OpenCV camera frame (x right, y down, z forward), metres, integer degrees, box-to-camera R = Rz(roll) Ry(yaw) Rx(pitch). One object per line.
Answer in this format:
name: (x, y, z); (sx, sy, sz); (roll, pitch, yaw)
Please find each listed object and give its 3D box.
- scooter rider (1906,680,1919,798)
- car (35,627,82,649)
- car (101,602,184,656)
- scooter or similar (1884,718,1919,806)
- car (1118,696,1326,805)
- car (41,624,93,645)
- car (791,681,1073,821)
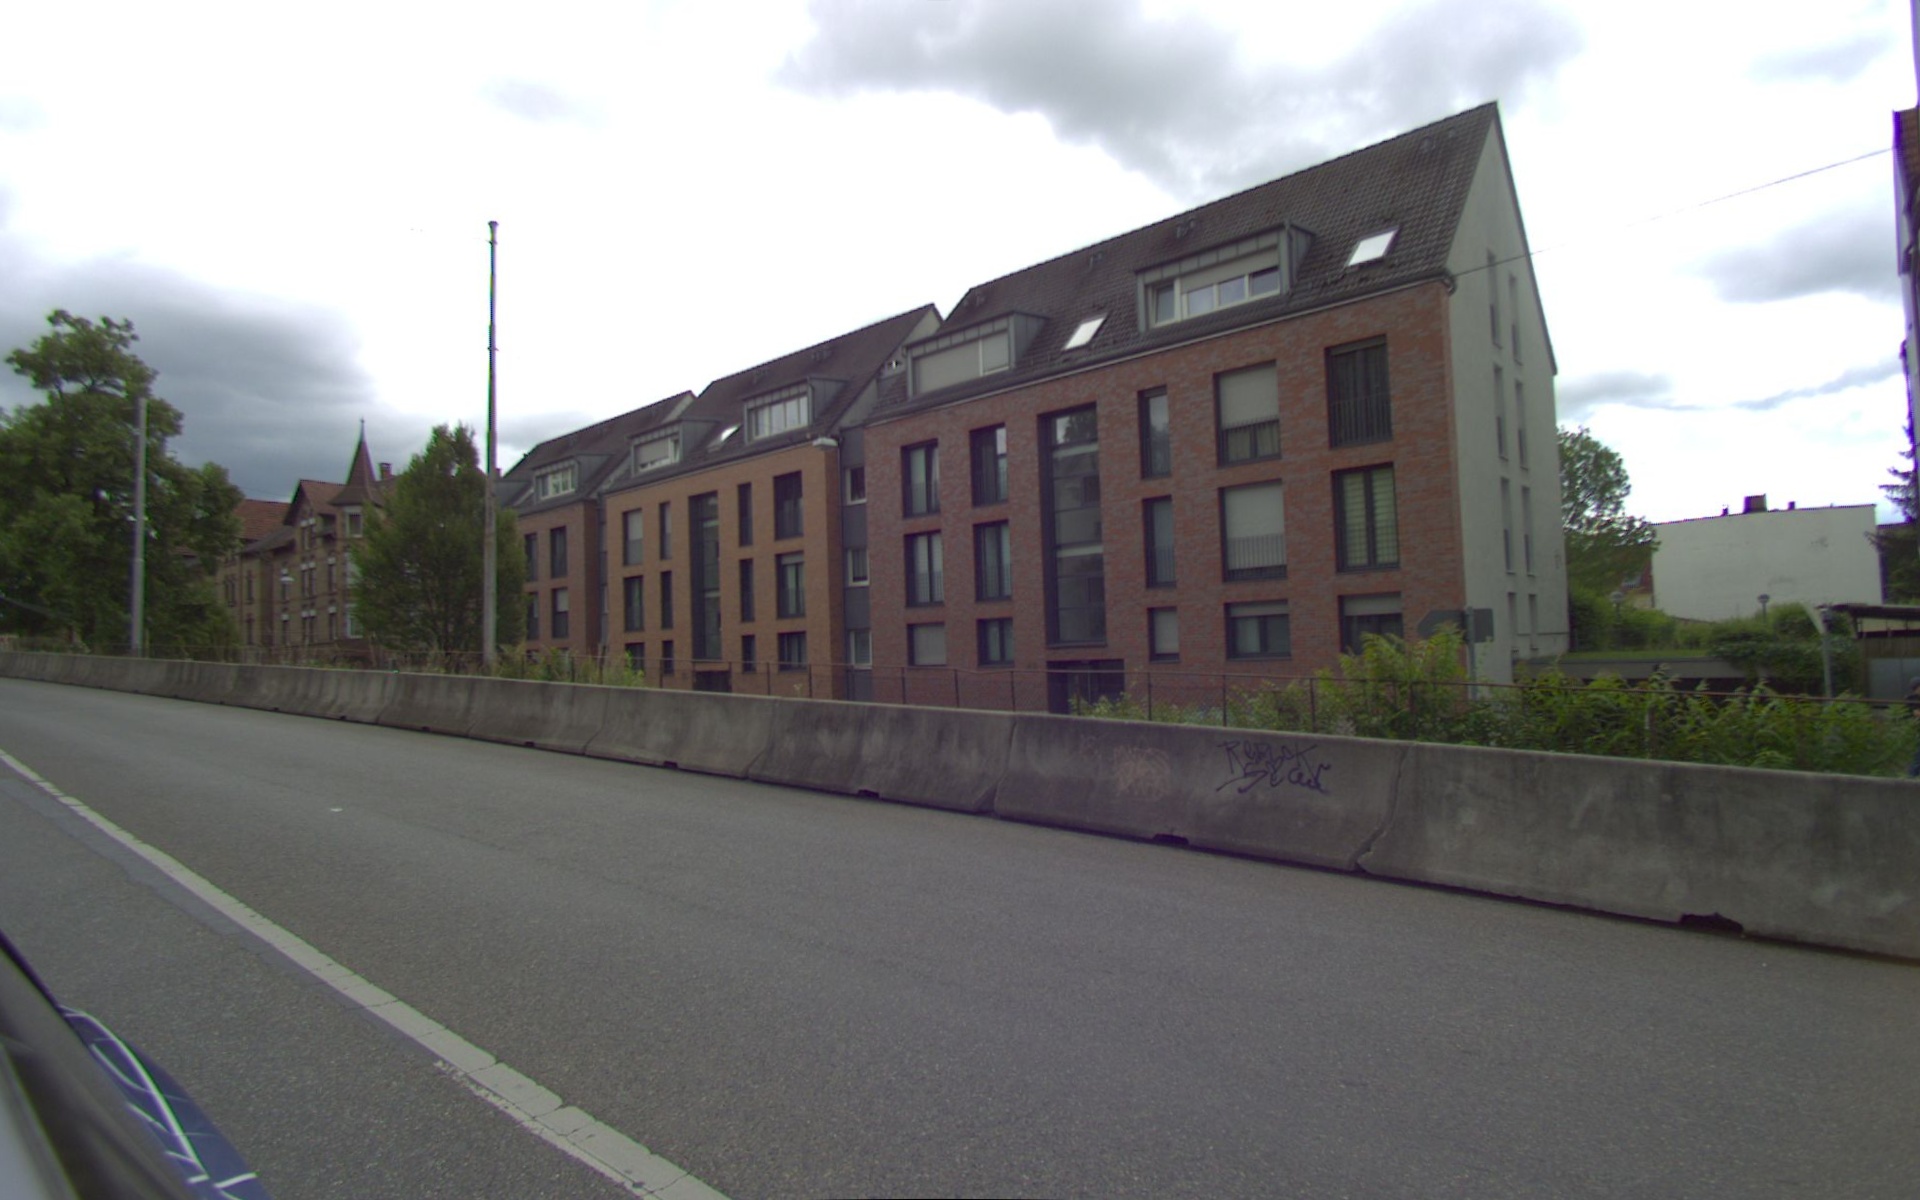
scooter rider: (14.472, 2.052, 14.970); (0.577, 1.718, 0.482); (-4, -5, 41)
car: (-65.601, 2.719, 73.632); (3.997, 1.564, 1.973); (-1, -2, 40)
car: (-42.344, 1.451, 52.348); (5.736, 2.601, 2.531); (0, 0, 43)
scooter or similar: (14.489, 2.410, 14.934); (1.226, 1.251, 0.374); (-2, -3, 41)
car: (5.397, 3.027, 21.062); (3.765, 1.815, 1.696); (-3, -1, 41)
car: (-57.920, 2.246, 65.630); (3.997, 1.364, 1.973); (-2, -3, 40)
car: (-0.496, 2.019, 14.413); (3.996, 1.525, 1.519); (-2, -1, 39)
